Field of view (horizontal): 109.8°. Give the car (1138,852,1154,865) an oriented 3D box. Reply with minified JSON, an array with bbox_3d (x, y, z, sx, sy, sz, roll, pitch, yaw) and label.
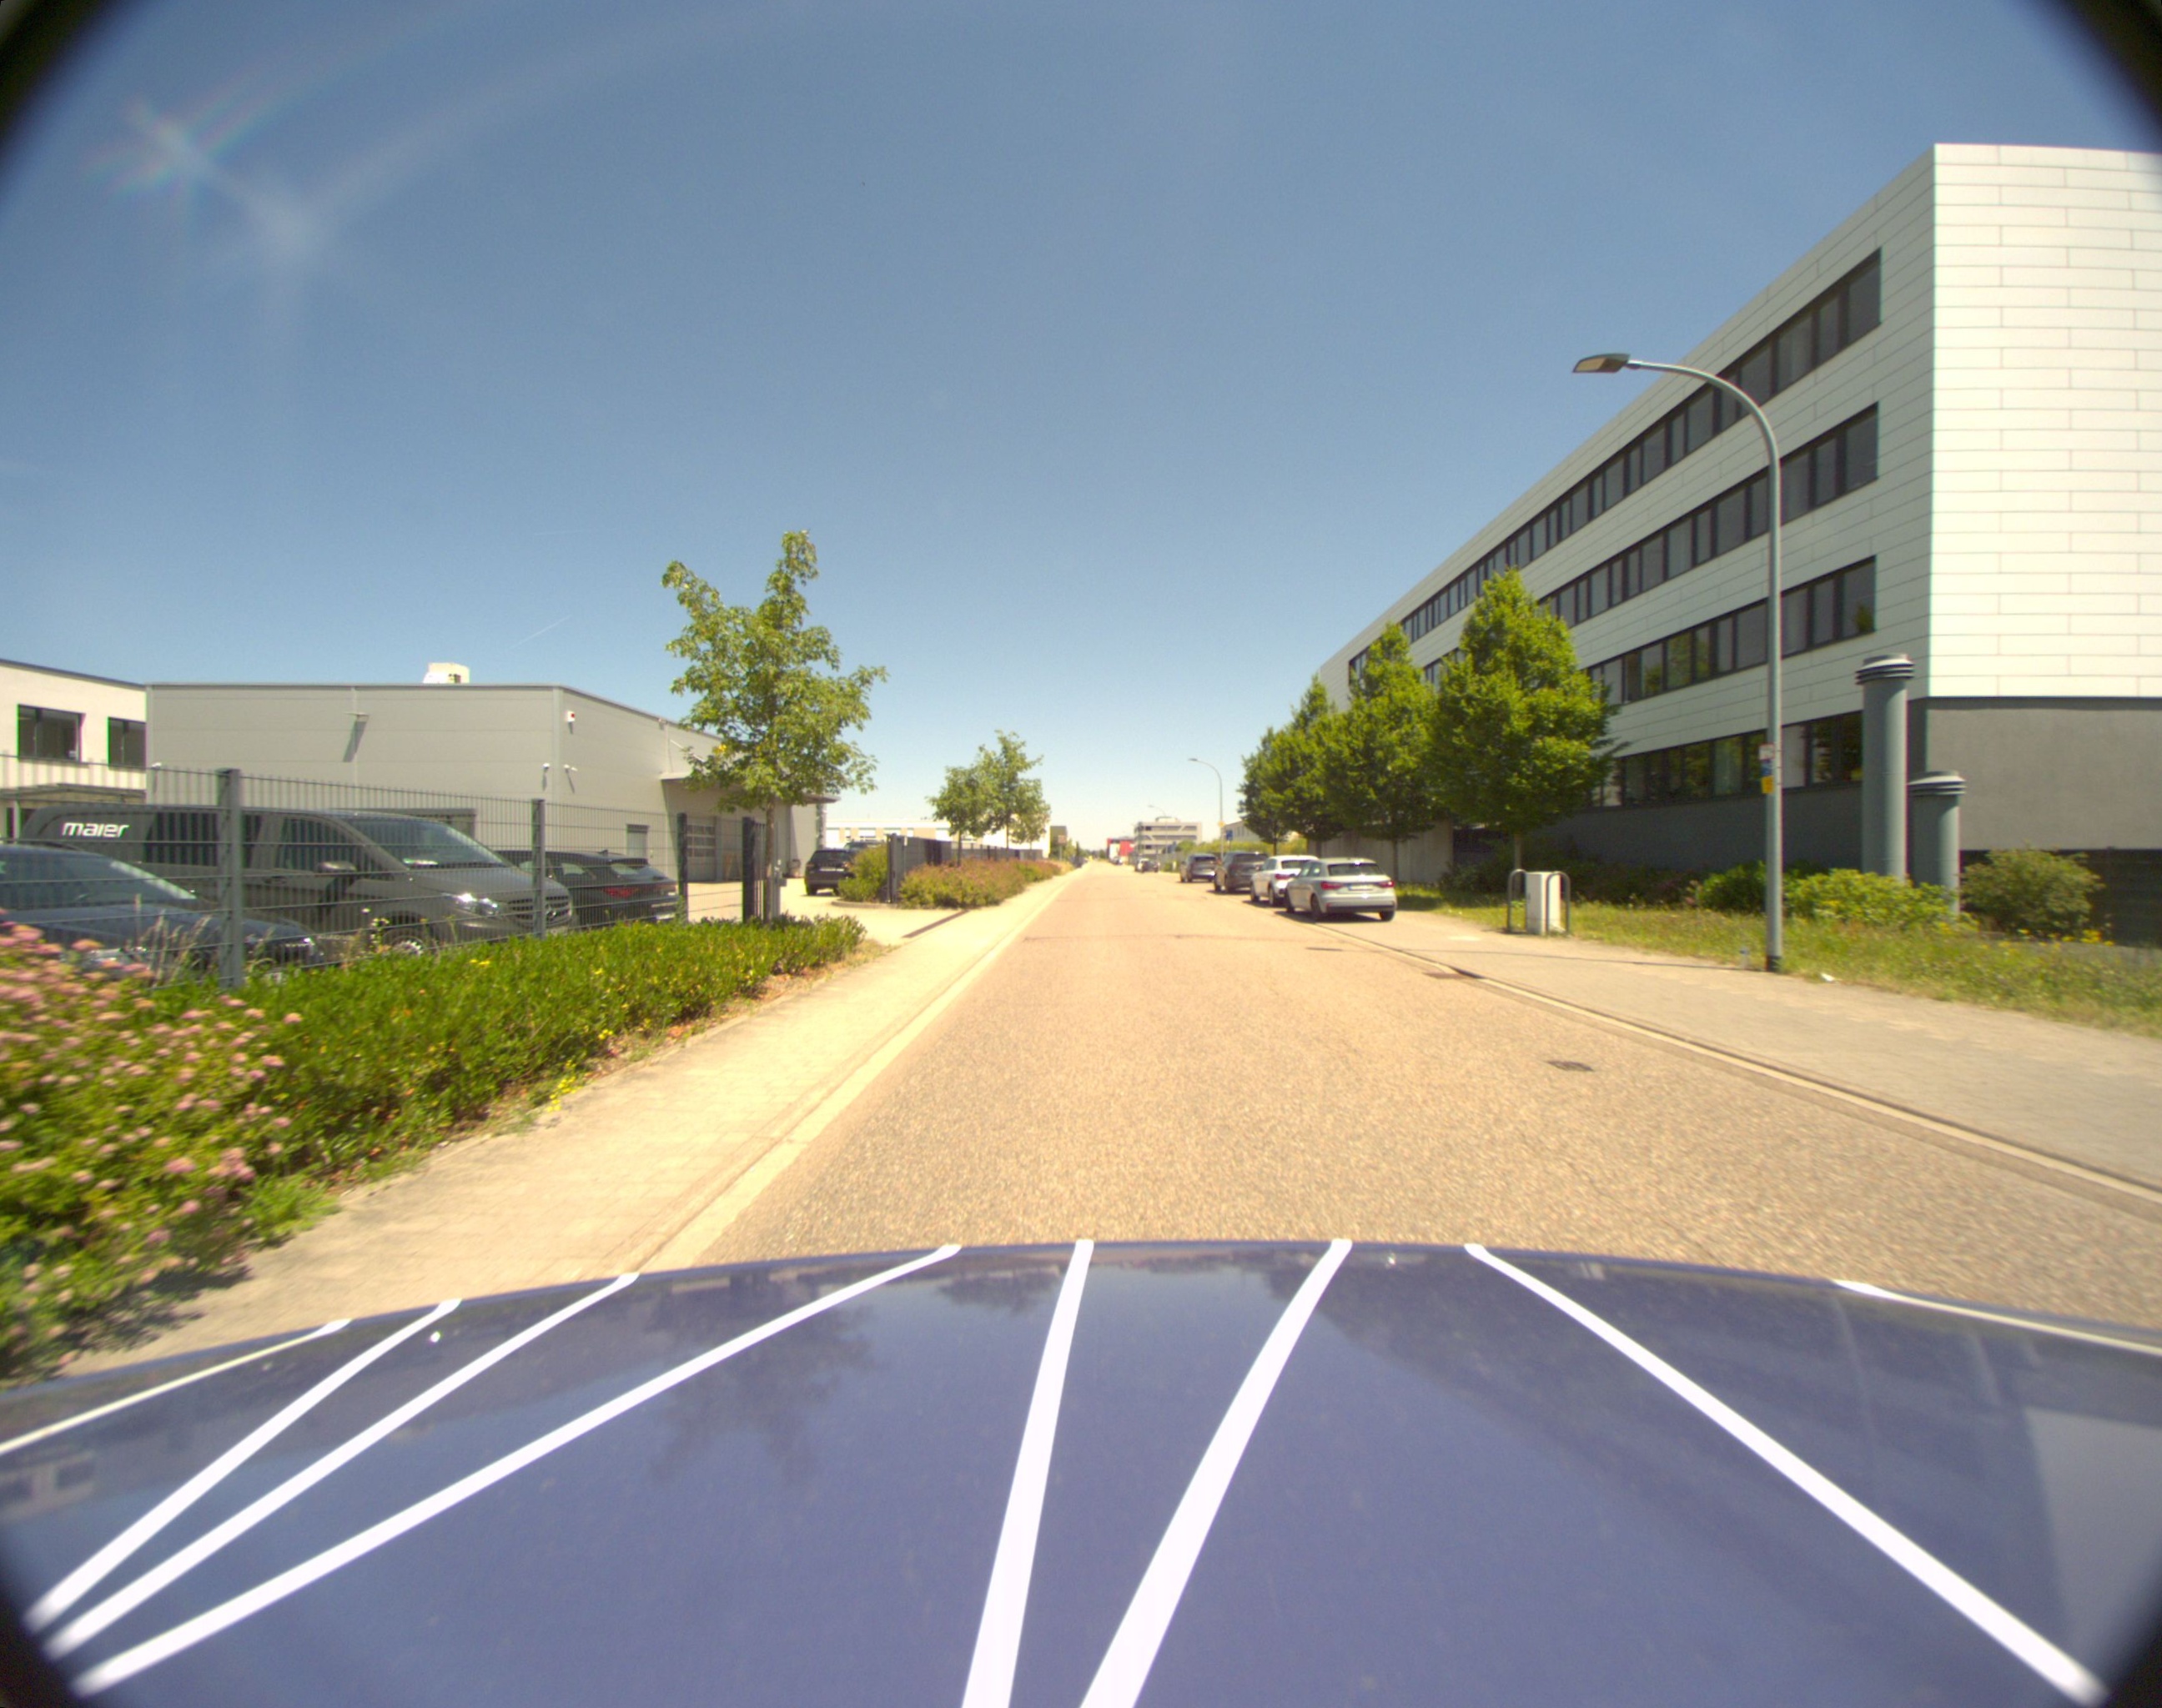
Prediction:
[{"bbox_3d":[7.827,0.501,91.649,1.678,1.521,3.757,-2,0,1],"label":"car"}]

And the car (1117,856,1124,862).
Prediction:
[{"bbox_3d":[10.082,1.249,193.265,1.694,1.481,3.660,-2,0,2],"label":"car"}]

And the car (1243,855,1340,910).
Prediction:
[{"bbox_3d":[6.202,0.785,22.836,1.775,1.422,4.201,-2,0,1],"label":"car"}]

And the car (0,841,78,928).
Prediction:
[{"bbox_3d":[-19.354,0.464,12.239,3.997,1.395,1.818,1,1,0],"label":"car"}]

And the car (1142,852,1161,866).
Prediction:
[{"bbox_3d":[7.610,0.553,82.448,1.678,1.442,4.069,-2,0,1],"label":"car"}]

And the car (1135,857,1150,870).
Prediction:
[{"bbox_3d":[7.873,1.215,98.101,1.678,1.521,3.909,-1,0,1],"label":"car"}]

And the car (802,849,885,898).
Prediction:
[{"bbox_3d":[-8.052,0.598,26.045,1.546,1.546,3.879,1,0,1],"label":"car"}]

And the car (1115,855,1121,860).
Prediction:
[{"bbox_3d":[10.980,0.994,224.484,1.659,1.572,3.778,-2,0,2],"label":"car"}]

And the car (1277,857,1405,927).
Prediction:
[{"bbox_3d":[6.053,0.812,18.181,1.775,1.422,3.940,-1,0,1],"label":"car"}]

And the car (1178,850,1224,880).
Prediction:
[{"bbox_3d":[6.715,0.620,42.877,1.775,1.578,4.481,-1,0,-1],"label":"car"}]

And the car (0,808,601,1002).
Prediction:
[{"bbox_3d":[-8.691,0.516,8.724,5.126,1.863,1.903,1,1,0],"label":"car"}]

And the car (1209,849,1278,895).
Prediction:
[{"bbox_3d":[6.343,0.636,30.091,1.775,1.614,4.582,-2,0,1],"label":"car"}]

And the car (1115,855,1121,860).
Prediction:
[{"bbox_3d":[11.109,1.041,228.812,1.772,1.521,3.778,-2,0,2],"label":"car"}]

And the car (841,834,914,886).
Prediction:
[{"bbox_3d":[-8.653,0.237,32.615,1.881,2.074,4.226,1,0,1],"label":"car"}]

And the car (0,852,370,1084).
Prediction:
[{"bbox_3d":[-8.299,0.728,5.746,4.355,1.441,1.602,1,1,0],"label":"car"}]

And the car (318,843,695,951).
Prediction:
[{"bbox_3d":[-8.273,0.579,11.226,4.226,1.414,1.764,1,1,0],"label":"car"}]
